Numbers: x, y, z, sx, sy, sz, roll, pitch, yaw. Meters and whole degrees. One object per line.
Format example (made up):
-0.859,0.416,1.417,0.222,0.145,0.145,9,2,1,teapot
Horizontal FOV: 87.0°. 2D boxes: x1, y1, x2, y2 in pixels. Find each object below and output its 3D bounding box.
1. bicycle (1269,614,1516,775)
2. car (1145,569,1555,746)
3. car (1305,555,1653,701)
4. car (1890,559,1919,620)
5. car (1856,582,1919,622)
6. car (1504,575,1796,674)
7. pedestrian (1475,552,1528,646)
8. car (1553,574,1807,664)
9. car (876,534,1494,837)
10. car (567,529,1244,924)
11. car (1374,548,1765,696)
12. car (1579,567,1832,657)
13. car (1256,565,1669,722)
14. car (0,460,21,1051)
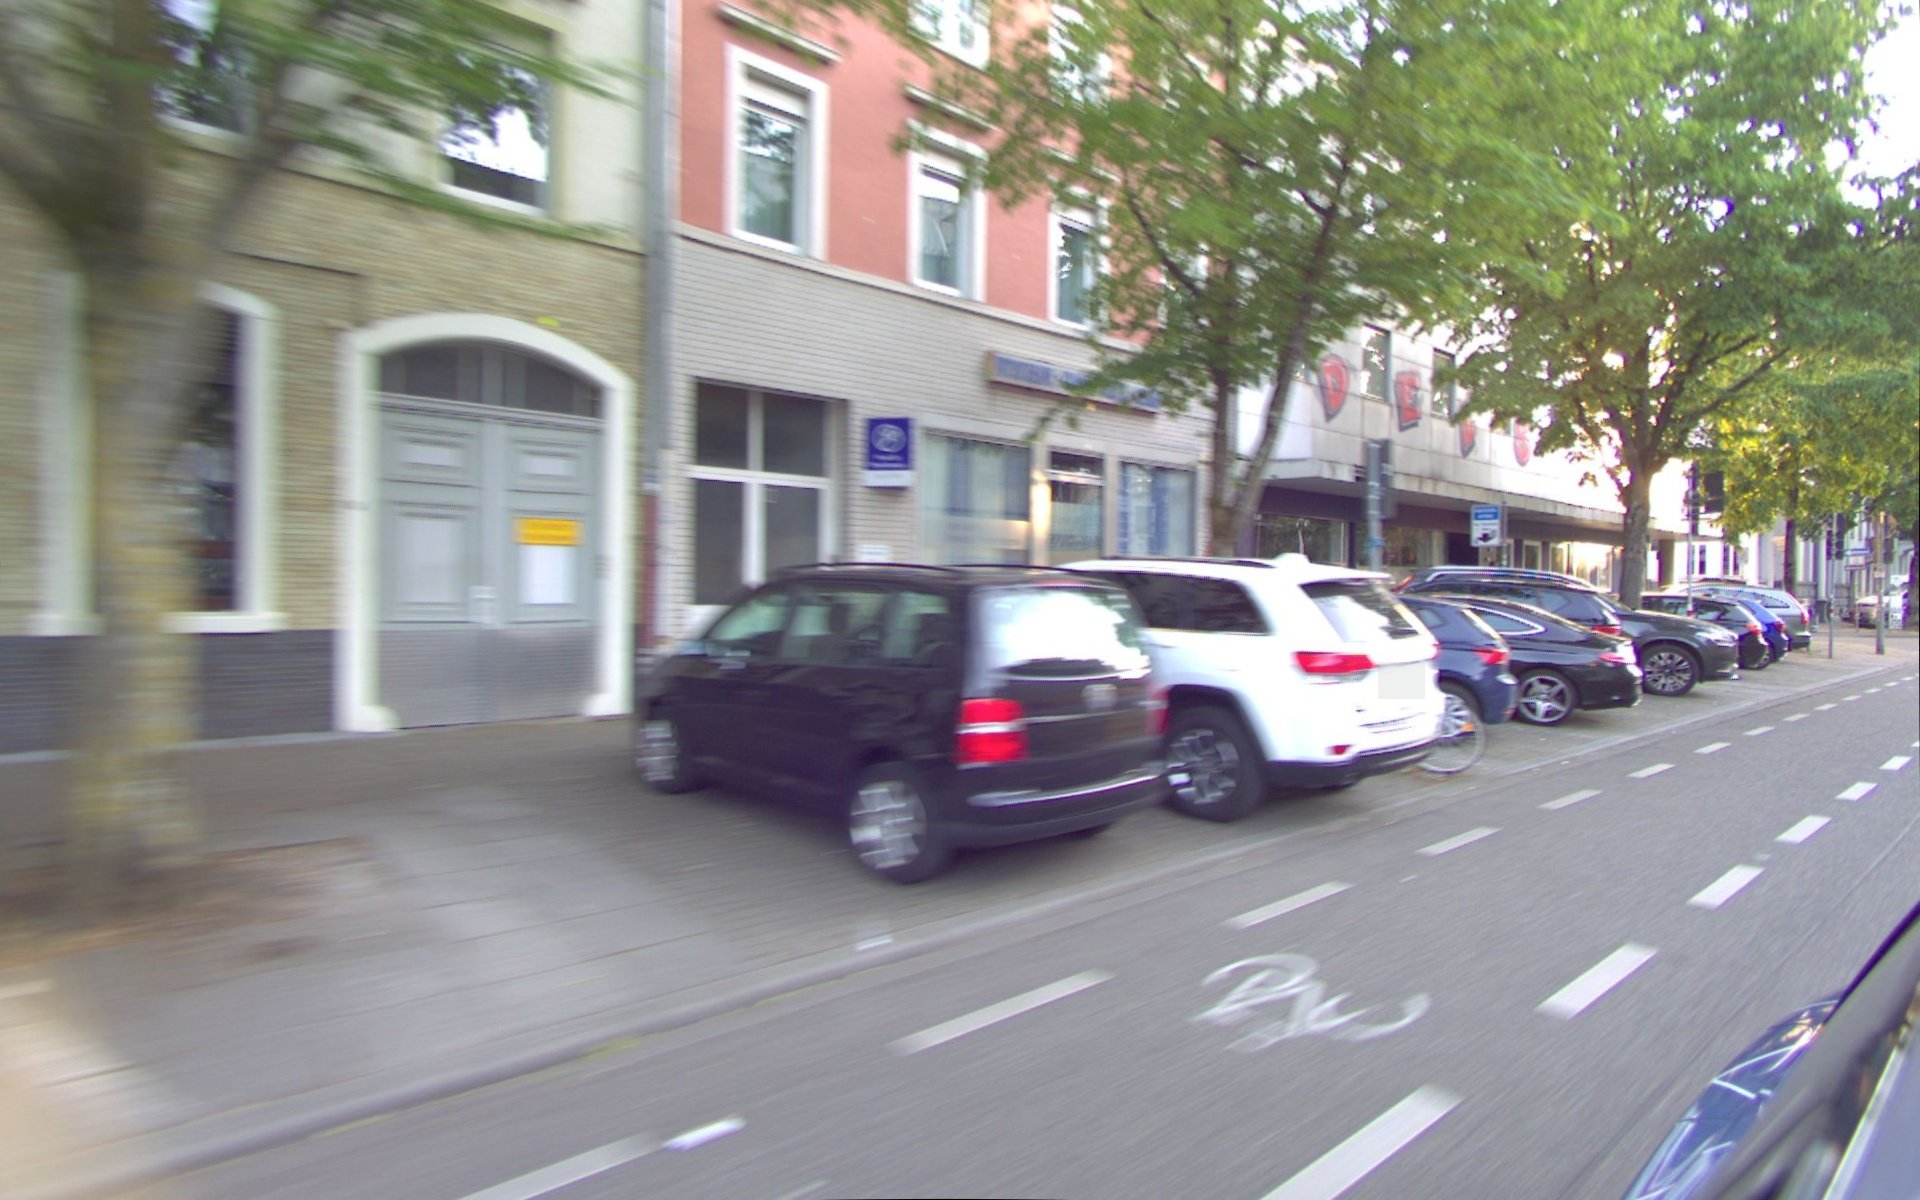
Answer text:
3.671,0.750,8.692,1.831,1.116,0.491,5,3,37,bicycle
3.982,0.491,10.802,3.711,1.444,1.717,4,3,19,car
7.452,0.285,14.753,4.196,1.669,1.953,4,3,33,car
45.472,-0.417,45.015,5.561,2.728,2.161,1,1,16,car
40.090,0.170,41.483,4.559,1.532,1.847,4,1,24,car
12.755,0.382,19.076,4.121,1.482,1.957,4,3,23,car
11.880,-0.034,22.218,0.772,2.009,0.693,0,3,-40,pedestrian
14.782,0.333,21.045,3.847,1.520,1.802,4,3,20,car
1.486,0.381,8.281,1.972,1.708,4.660,0,3,-40,car
-0.699,0.444,6.854,1.975,1.708,4.653,0,4,-45,car
9.474,0.208,16.147,4.945,1.848,2.183,4,3,33,car
16.680,0.210,22.902,4.111,1.684,1.833,3,3,16,car
5.968,0.410,12.535,4.180,1.444,1.961,4,3,23,car
-5.195,0.424,3.029,4.113,1.828,1.993,3,2,22,car
